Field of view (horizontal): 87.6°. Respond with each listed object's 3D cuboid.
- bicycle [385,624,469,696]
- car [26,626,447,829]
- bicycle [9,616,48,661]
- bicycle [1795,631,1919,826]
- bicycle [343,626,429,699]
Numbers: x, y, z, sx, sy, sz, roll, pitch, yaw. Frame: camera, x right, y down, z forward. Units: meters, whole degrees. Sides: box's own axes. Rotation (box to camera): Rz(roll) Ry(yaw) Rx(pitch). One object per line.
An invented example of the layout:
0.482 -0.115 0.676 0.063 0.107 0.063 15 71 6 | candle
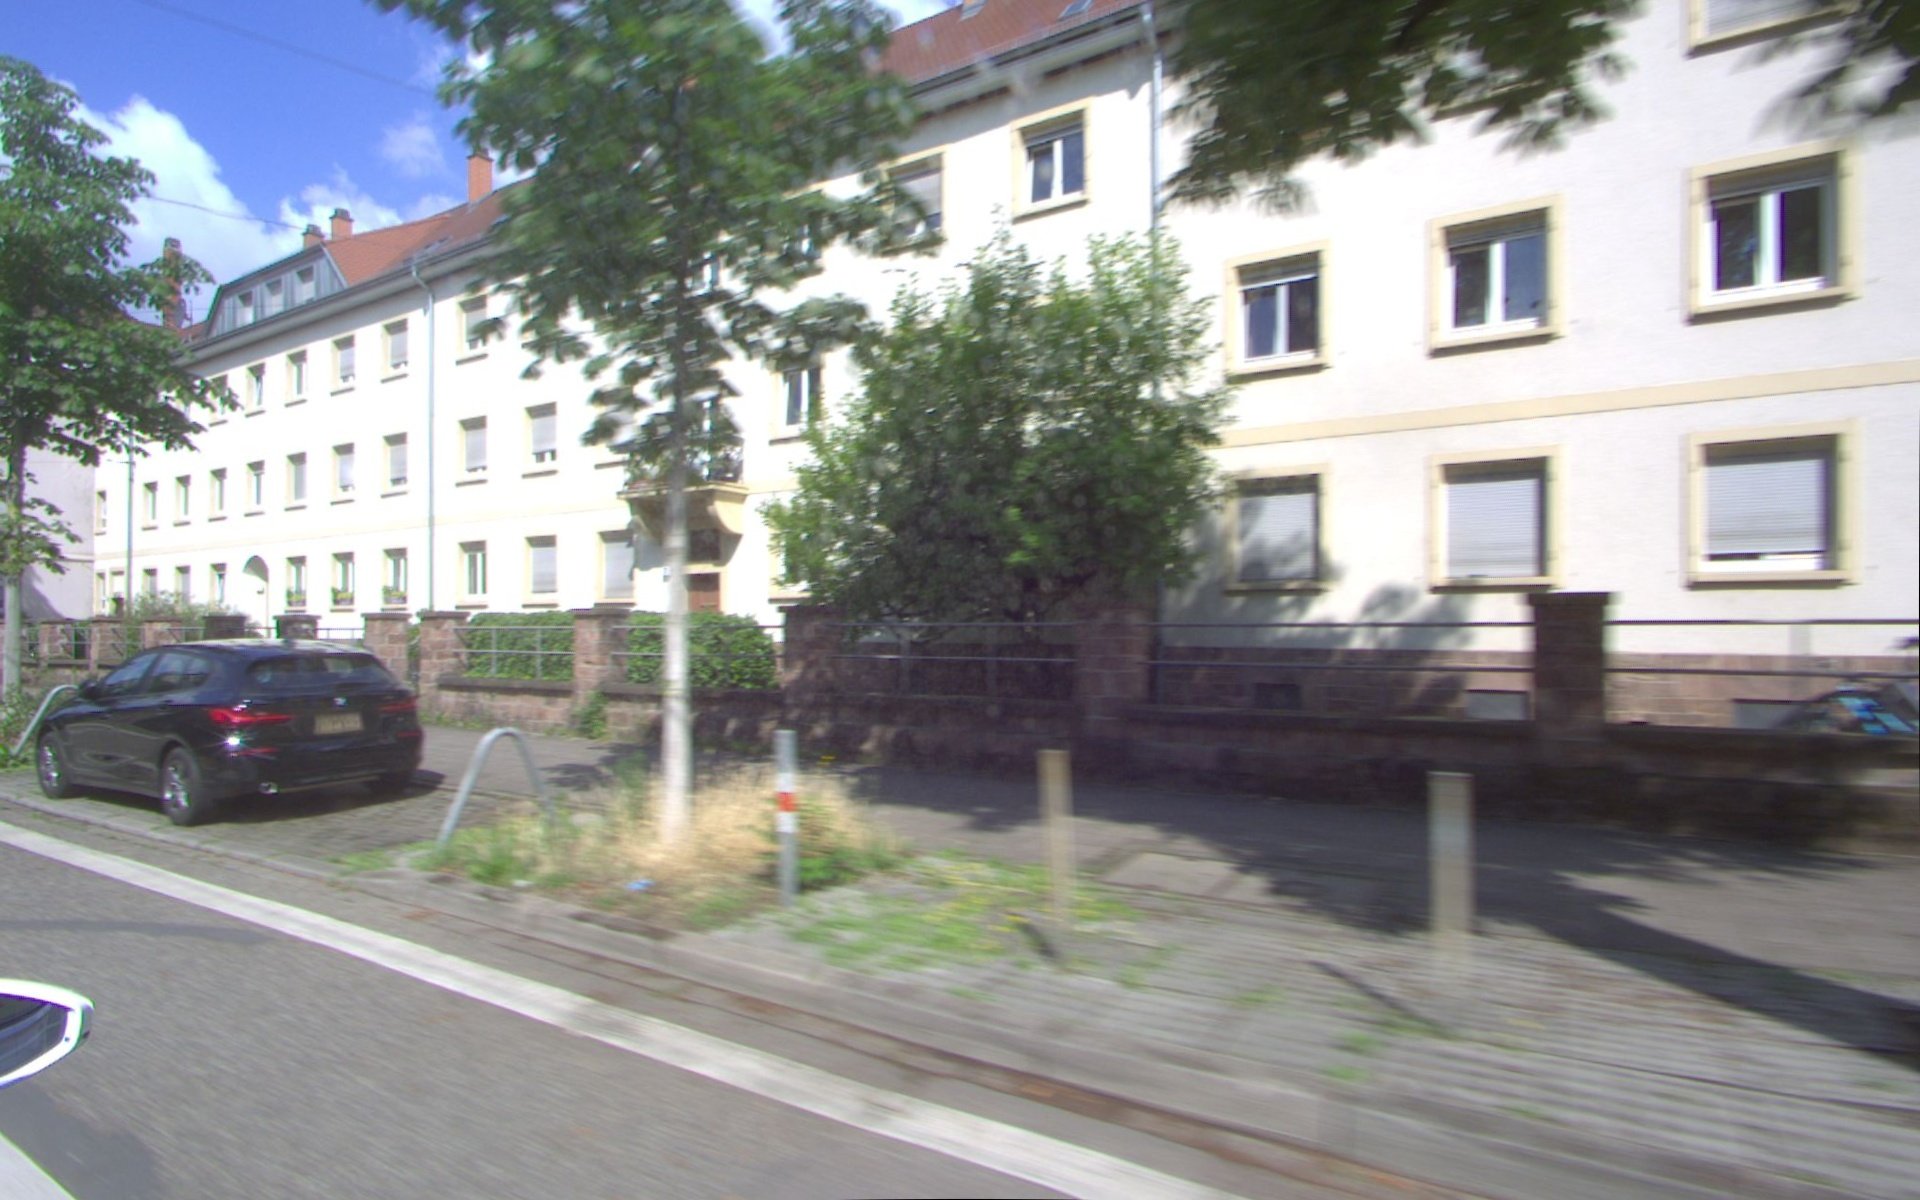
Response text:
-9.603 1.056 18.017 1.680 1.227 0.598 -1 -1 33 | bicycle
-6.763 1.030 9.255 4.137 1.497 1.704 -1 -4 33 | car
-25.766 1.060 27.692 1.680 1.227 0.411 -1 -1 33 | bicycle
6.426 0.840 6.566 1.440 1.260 0.303 -1 -1 38 | bicycle
-9.998 1.060 17.431 1.680 1.227 0.598 -1 -1 33 | bicycle
